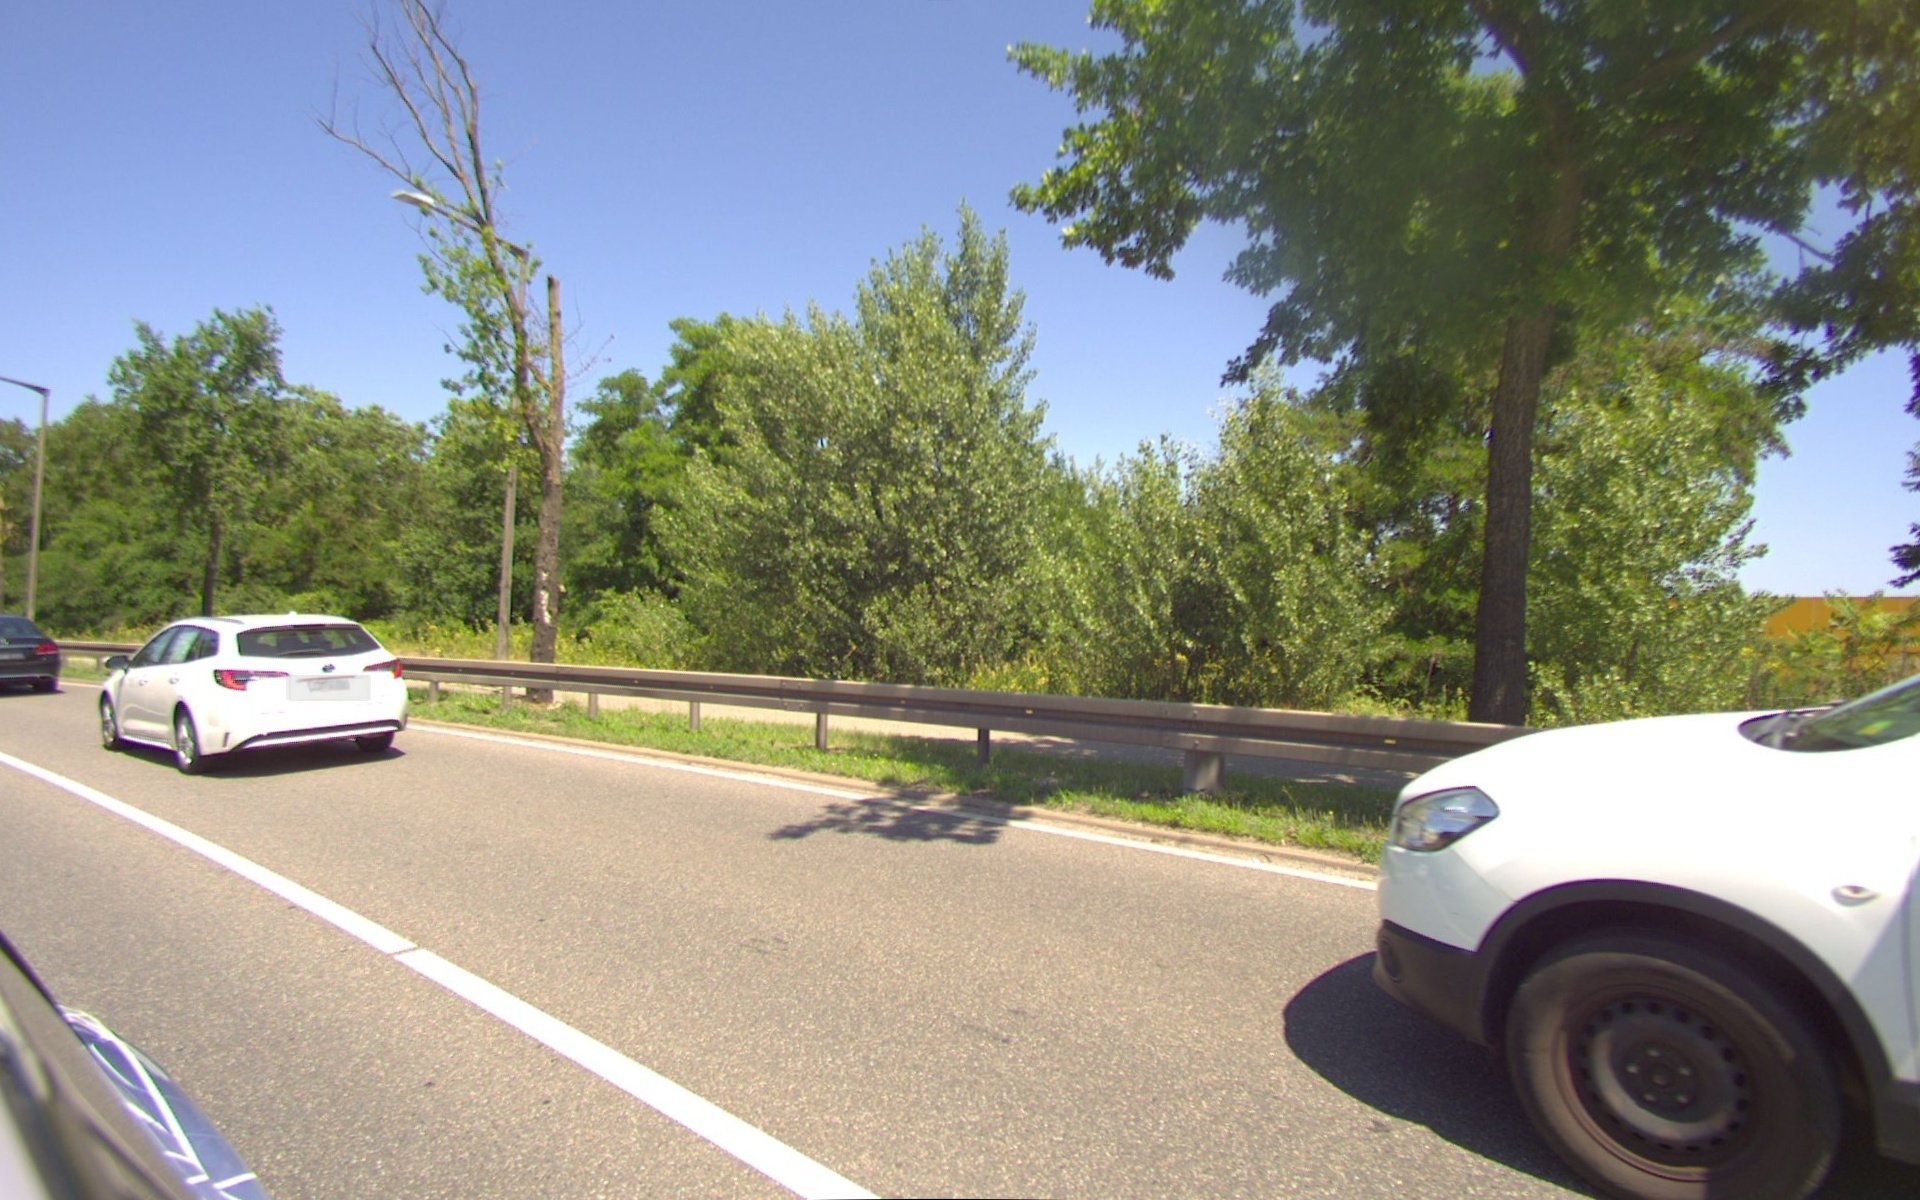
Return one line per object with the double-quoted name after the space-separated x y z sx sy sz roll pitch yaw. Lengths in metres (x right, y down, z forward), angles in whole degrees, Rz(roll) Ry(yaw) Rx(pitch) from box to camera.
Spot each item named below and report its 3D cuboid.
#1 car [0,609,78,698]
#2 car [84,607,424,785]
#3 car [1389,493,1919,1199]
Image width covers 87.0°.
-18.040 0.930 18.429 4.728 1.478 1.831 -1 0 34 "car"
-7.496 0.837 10.573 4.454 1.458 1.685 -1 1 38 "car"
3.338 0.548 1.837 4.394 1.558 1.726 -1 0 44 "car"
